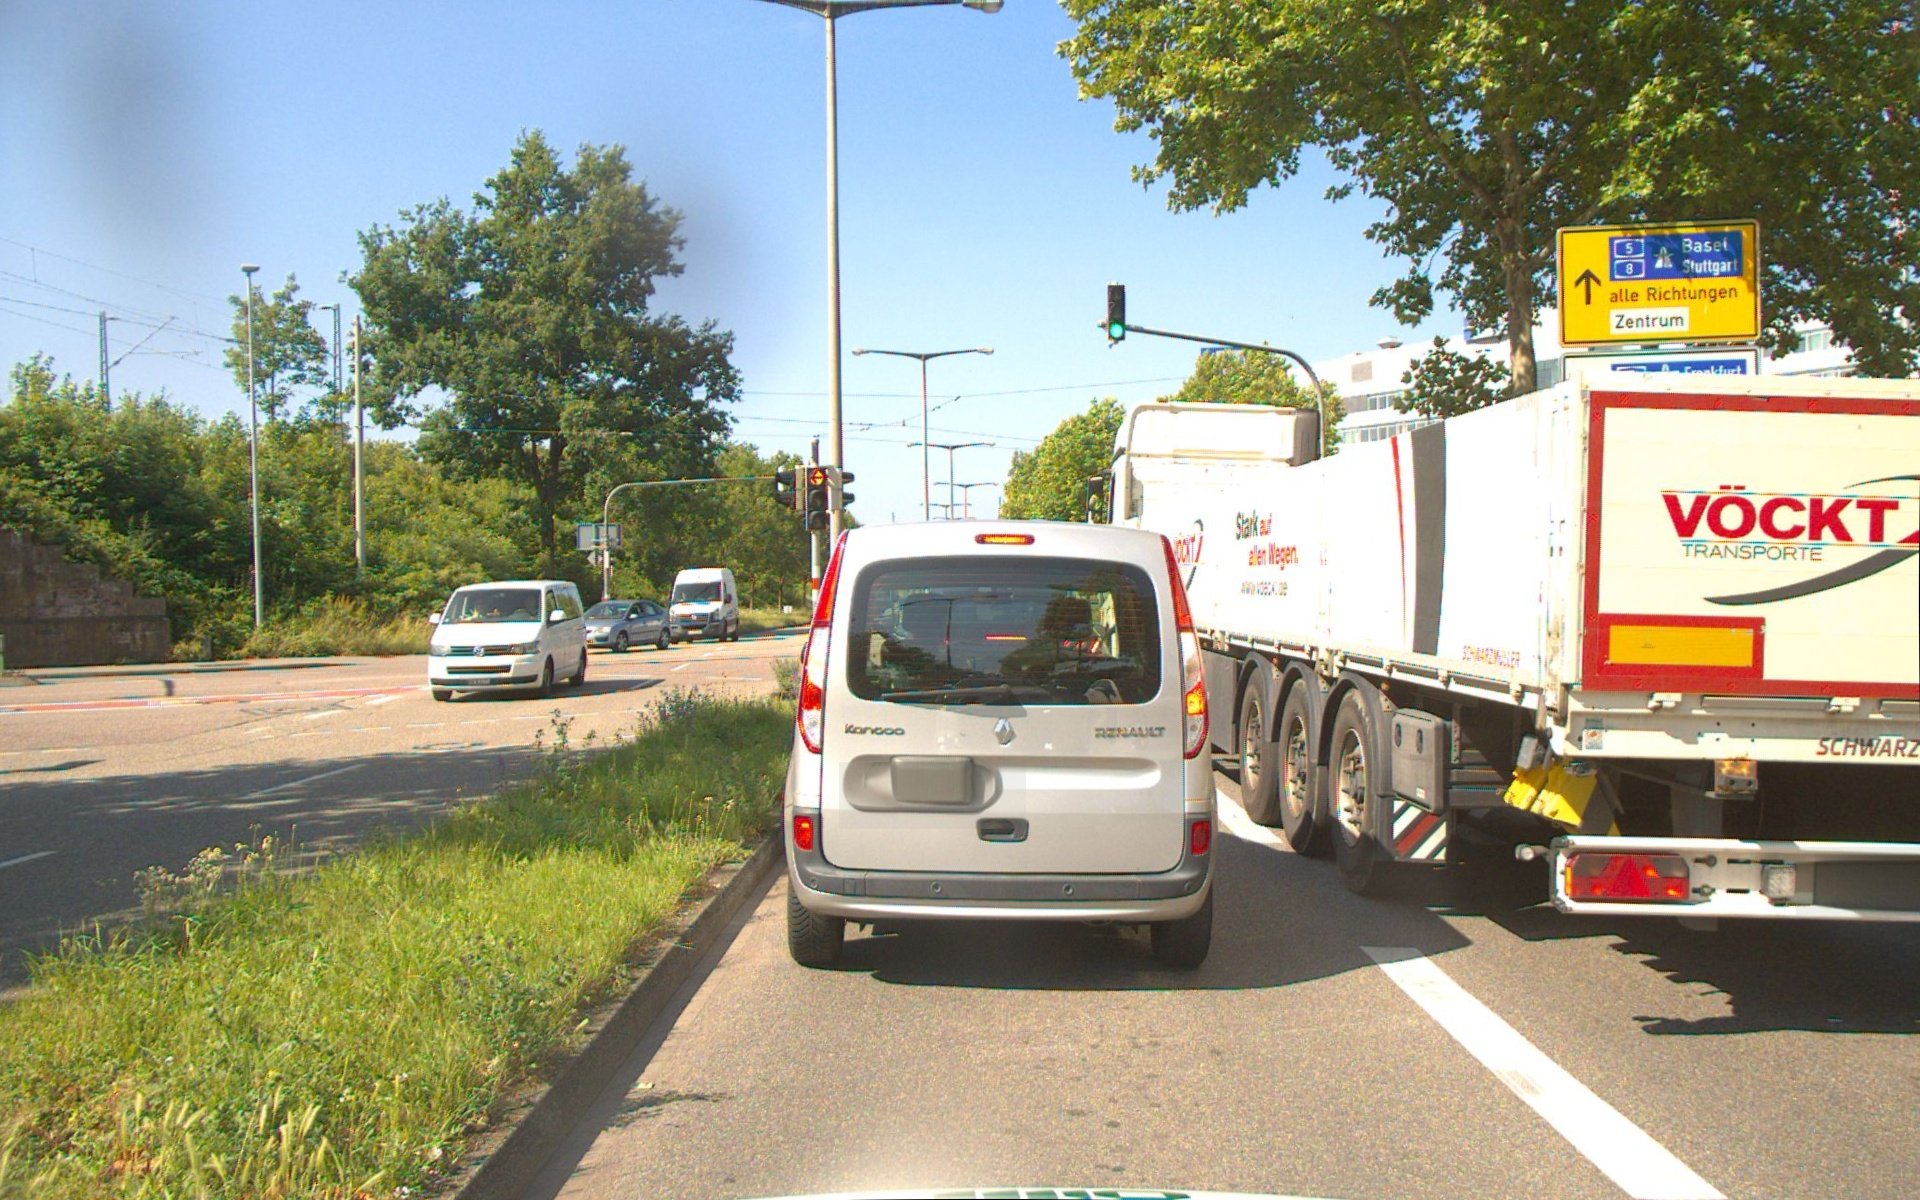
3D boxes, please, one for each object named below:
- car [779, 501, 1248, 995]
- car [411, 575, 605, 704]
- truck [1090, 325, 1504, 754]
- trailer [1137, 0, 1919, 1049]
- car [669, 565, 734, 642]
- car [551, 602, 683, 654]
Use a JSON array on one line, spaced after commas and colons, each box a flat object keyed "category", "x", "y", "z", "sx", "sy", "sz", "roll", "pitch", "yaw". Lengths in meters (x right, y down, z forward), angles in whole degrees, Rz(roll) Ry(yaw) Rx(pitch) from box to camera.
[{"category": "car", "x": 0.186, "y": 0.546, "z": 8.028, "sx": 1.713, "sy": 1.803, "sz": 3.949, "roll": 0, "pitch": 0, "yaw": -1}, {"category": "car", "x": -7.631, "y": 0.625, "z": 28.462, "sx": 1.953, "sy": 1.924, "sz": 4.987, "roll": -3, "pitch": 0, "yaw": -1}, {"category": "truck", "x": 3.305, "y": -0.531, "z": 18.492, "sx": 3.009, "sy": 3.823, "sz": 7.474, "roll": 0, "pitch": 0, "yaw": -1}, {"category": "trailer", "x": 3.319, "y": -0.502, "z": 11.252, "sx": 2.954, "sy": 3.806, "sz": 12.239, "roll": 0, "pitch": 0, "yaw": 0}, {"category": "car", "x": -9.274, "y": 0.122, "z": 59.680, "sx": 2.019, "sy": 2.660, "sz": 5.862, "roll": 0, "pitch": 0, "yaw": -6}, {"category": "car", "x": -9.921, "y": 0.772, "z": 48.178, "sx": 1.871, "sy": 1.433, "sz": 4.229, "roll": 0, "pitch": 0, "yaw": 19}]
